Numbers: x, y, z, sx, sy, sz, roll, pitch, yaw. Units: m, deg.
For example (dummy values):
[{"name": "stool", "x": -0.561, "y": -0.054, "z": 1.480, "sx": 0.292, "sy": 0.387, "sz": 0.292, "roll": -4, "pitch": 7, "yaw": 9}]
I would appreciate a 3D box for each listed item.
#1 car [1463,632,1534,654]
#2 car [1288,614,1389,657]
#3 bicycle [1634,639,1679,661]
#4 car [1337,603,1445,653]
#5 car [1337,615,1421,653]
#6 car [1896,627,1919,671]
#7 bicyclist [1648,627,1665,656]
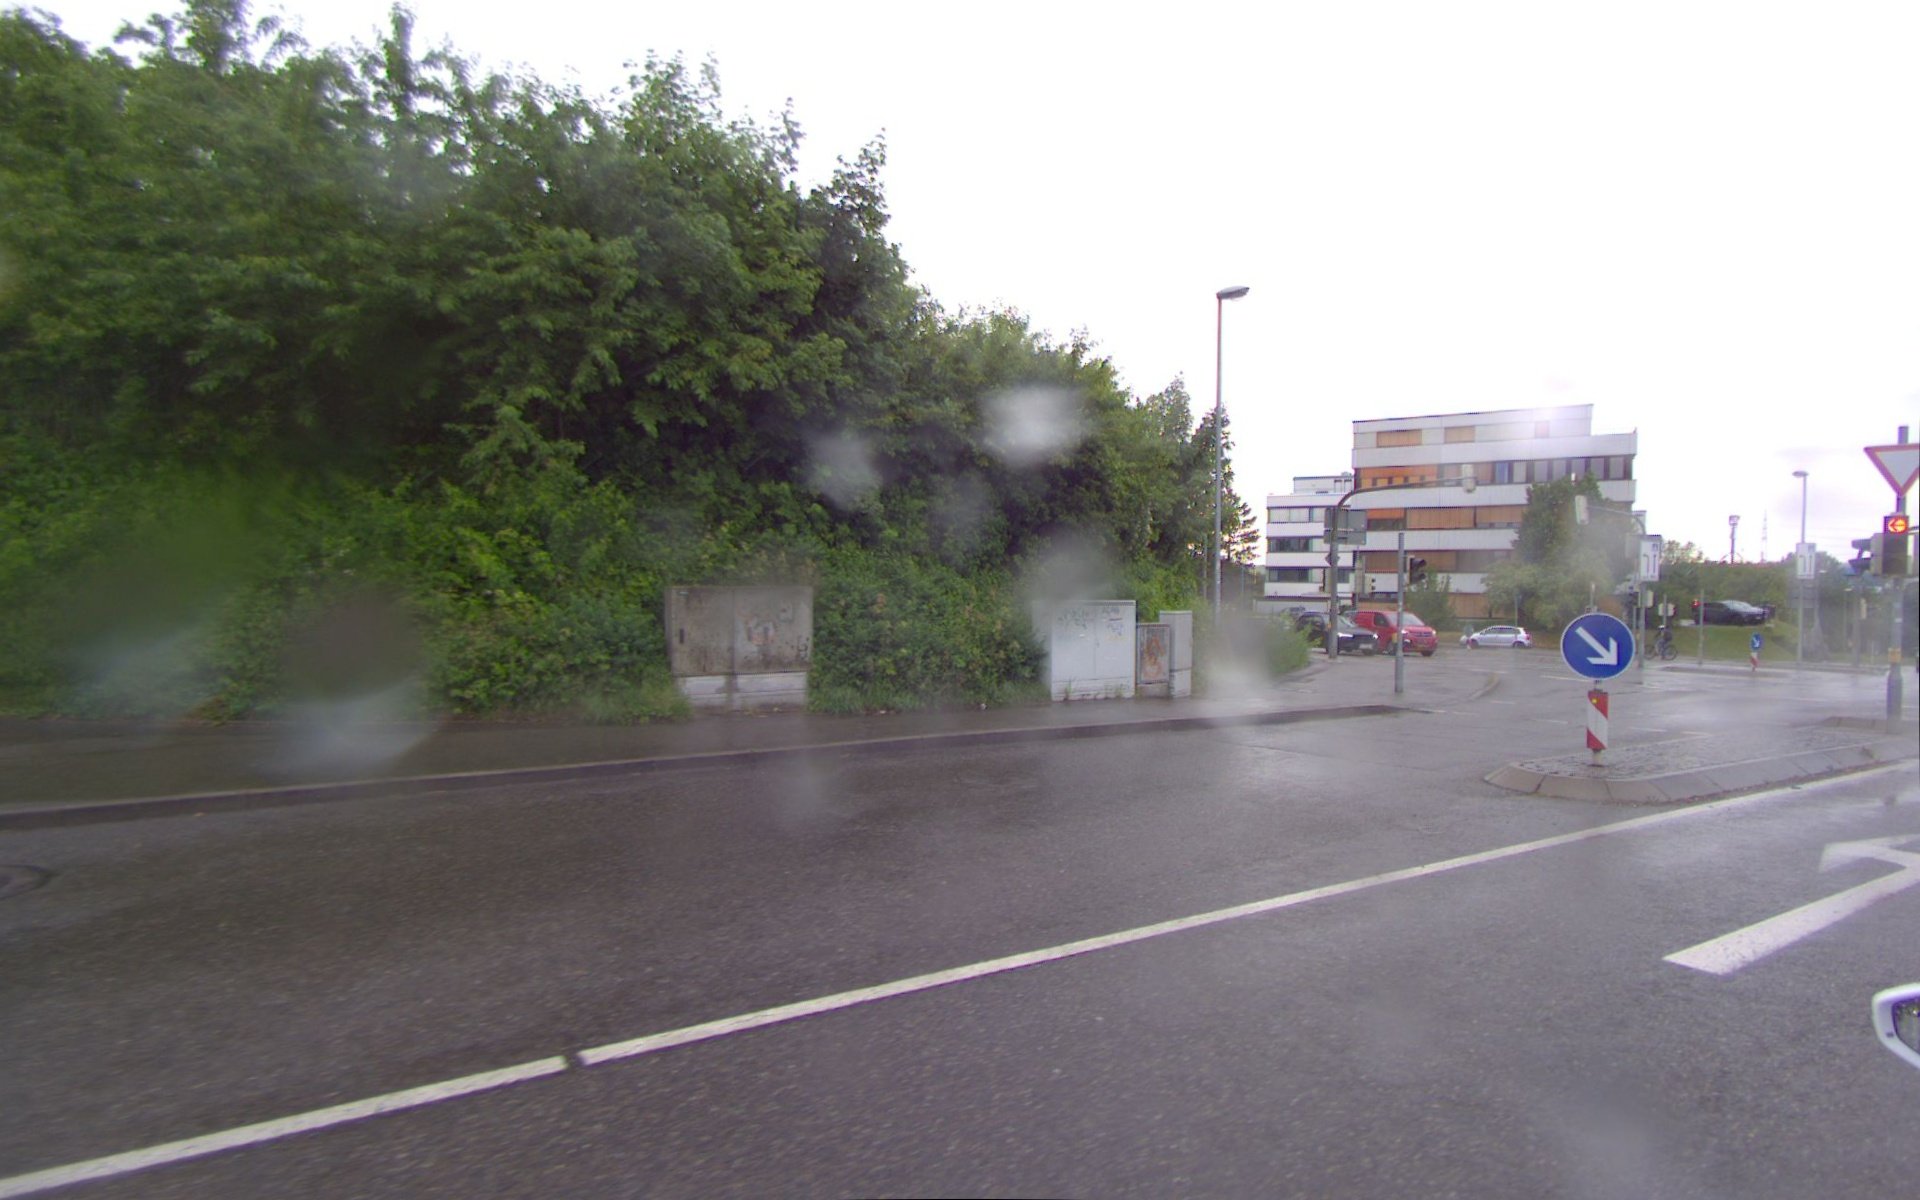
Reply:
[{"name": "car", "x": 31.612, "y": 2.501, "z": 58.977, "sx": 3.458, "sy": 1.120, "sz": 1.815, "roll": 1, "pitch": 0, "yaw": 35}, {"name": "car", "x": 15.934, "y": 1.471, "z": 42.557, "sx": 1.997, "sy": 1.701, "sz": 4.625, "roll": 1, "pitch": -1, "yaw": -9}, {"name": "bicycle", "x": 35.313, "y": 2.526, "z": 50.948, "sx": 0.603, "sy": 1.066, "sz": 1.763, "roll": 1, "pitch": 0, "yaw": -34}, {"name": "car", "x": 18.725, "y": 1.184, "z": 43.867, "sx": 1.965, "sy": 2.040, "sz": 4.777, "roll": 1, "pitch": 0, "yaw": -11}, {"name": "car", "x": 20.298, "y": 1.634, "z": 48.879, "sx": 1.964, "sy": 1.706, "sz": 3.994, "roll": 1, "pitch": 0, "yaw": -9}, {"name": "car", "x": 44.007, "y": 2.234, "z": 45.770, "sx": 1.972, "sy": 1.920, "sz": 3.977, "roll": 2, "pitch": -1, "yaw": 43}, {"name": "bicyclist", "x": 35.326, "y": 2.093, "z": 50.933, "sx": 0.597, "sy": 1.465, "sz": 0.540, "roll": 1, "pitch": 0, "yaw": -35}]
